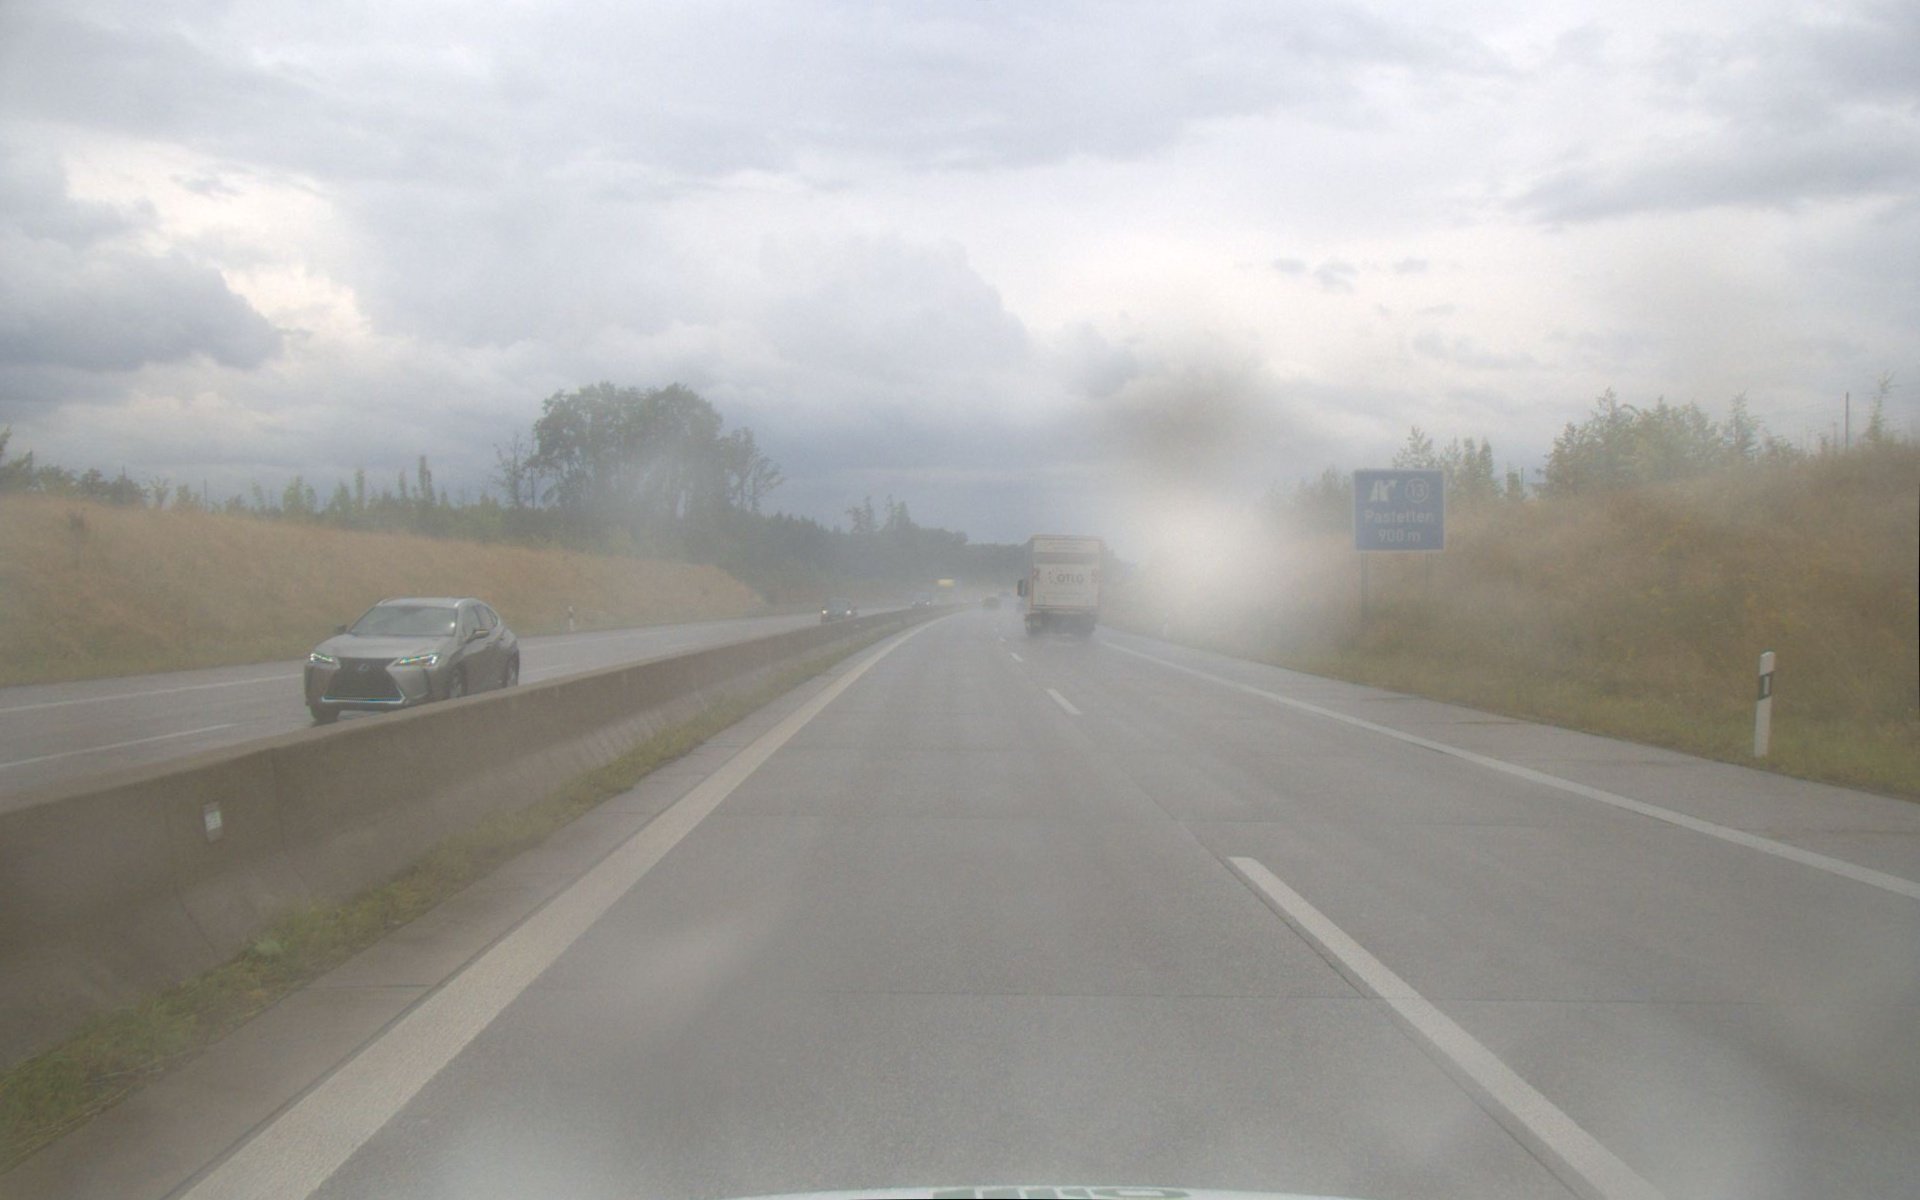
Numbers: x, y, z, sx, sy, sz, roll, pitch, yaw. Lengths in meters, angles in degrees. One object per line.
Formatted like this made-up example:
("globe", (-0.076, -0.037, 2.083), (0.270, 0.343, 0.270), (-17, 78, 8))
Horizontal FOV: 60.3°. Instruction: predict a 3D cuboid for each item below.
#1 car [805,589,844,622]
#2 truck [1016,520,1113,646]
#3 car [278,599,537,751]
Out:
("car", (-6.799, 0.261, 83.067), (1.590, 1.453, 4.001), (-2, 2, 0))
("truck", (3.896, -0.683, 63.521), (3.177, 4.514, 8.246), (0, 1, 0))
("car", (-7.029, 0.880, 21.543), (1.953, 1.545, 4.189), (-2, 3, -1))
